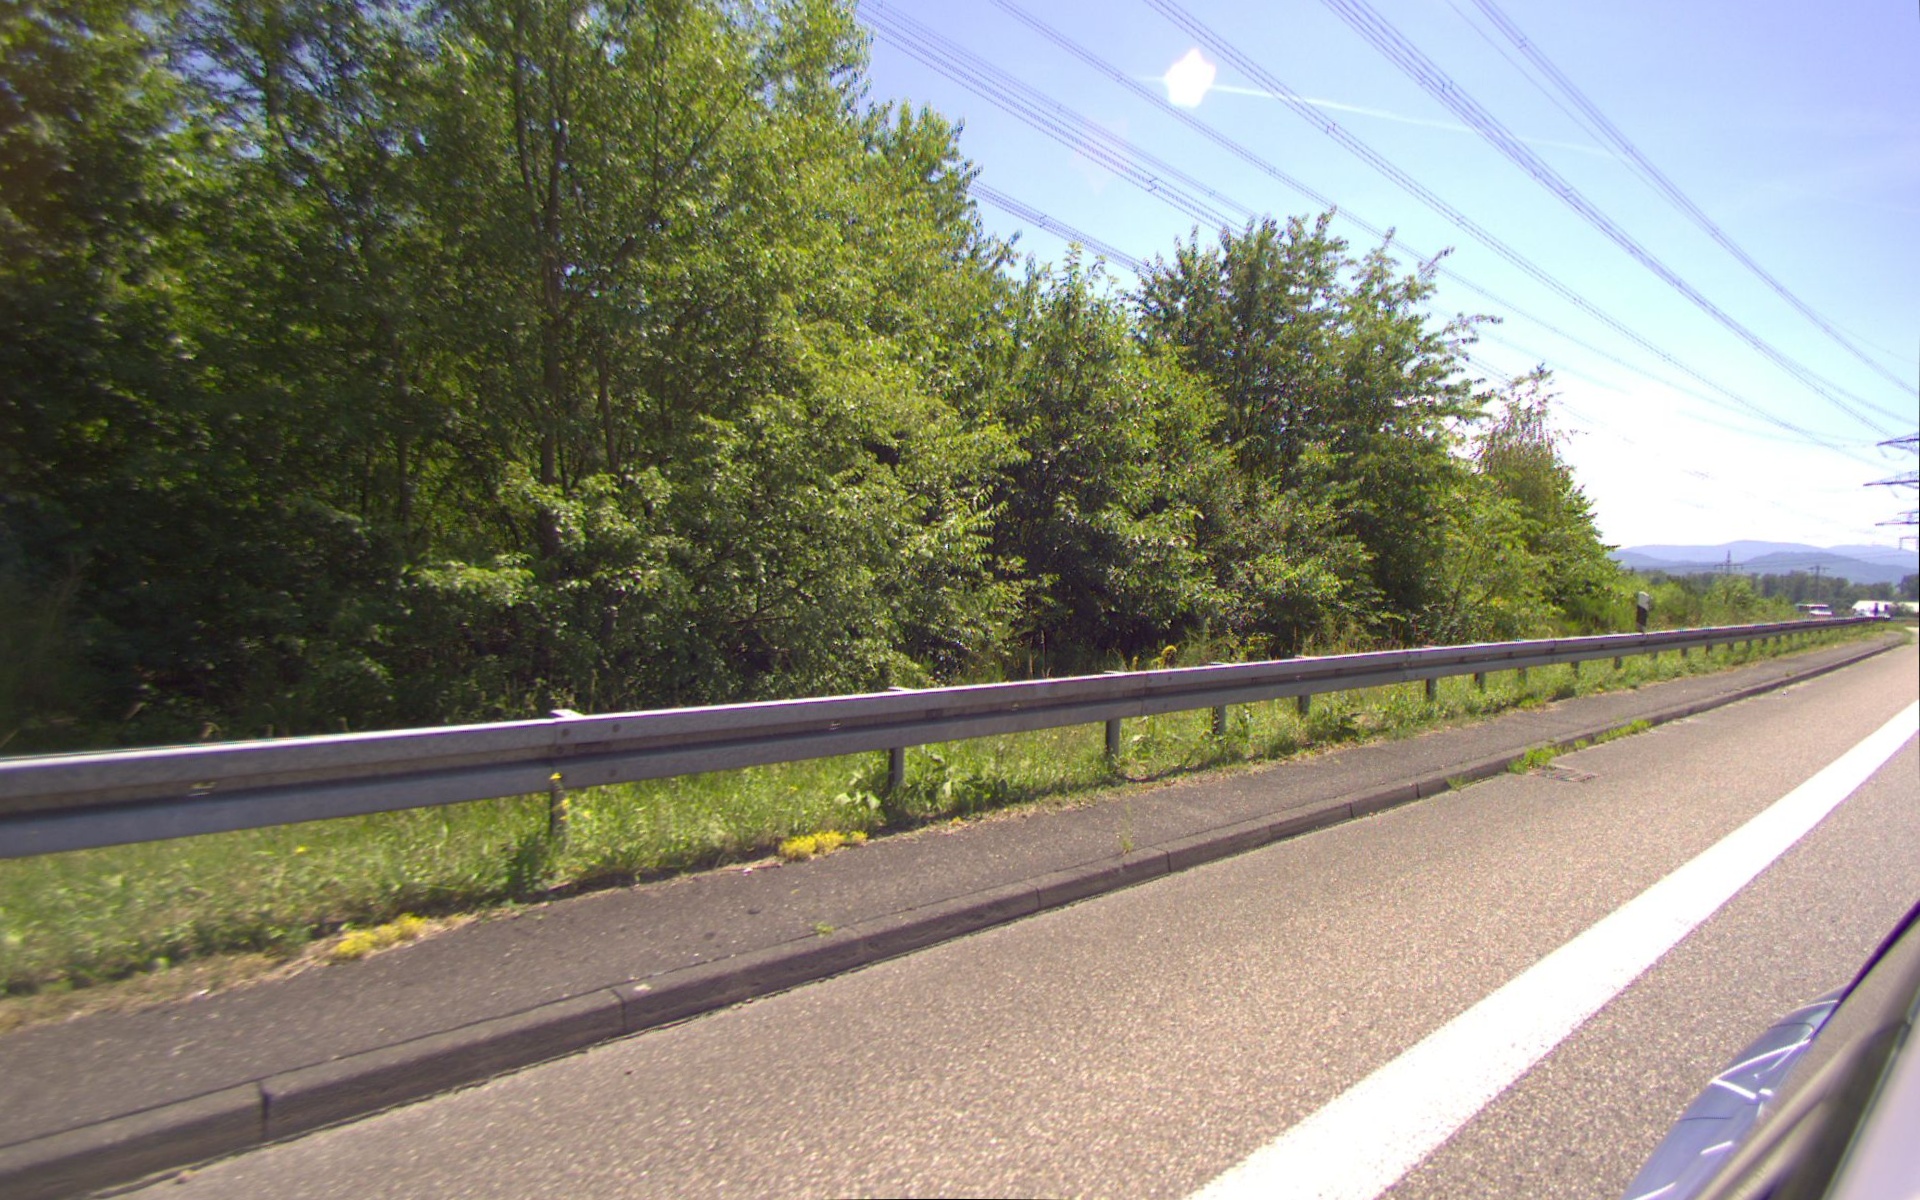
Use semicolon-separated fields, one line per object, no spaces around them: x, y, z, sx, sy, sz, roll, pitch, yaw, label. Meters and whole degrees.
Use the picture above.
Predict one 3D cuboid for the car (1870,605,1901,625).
82.642;1.326;90.399;1.993;1.705;3.938;1;0;43;car
